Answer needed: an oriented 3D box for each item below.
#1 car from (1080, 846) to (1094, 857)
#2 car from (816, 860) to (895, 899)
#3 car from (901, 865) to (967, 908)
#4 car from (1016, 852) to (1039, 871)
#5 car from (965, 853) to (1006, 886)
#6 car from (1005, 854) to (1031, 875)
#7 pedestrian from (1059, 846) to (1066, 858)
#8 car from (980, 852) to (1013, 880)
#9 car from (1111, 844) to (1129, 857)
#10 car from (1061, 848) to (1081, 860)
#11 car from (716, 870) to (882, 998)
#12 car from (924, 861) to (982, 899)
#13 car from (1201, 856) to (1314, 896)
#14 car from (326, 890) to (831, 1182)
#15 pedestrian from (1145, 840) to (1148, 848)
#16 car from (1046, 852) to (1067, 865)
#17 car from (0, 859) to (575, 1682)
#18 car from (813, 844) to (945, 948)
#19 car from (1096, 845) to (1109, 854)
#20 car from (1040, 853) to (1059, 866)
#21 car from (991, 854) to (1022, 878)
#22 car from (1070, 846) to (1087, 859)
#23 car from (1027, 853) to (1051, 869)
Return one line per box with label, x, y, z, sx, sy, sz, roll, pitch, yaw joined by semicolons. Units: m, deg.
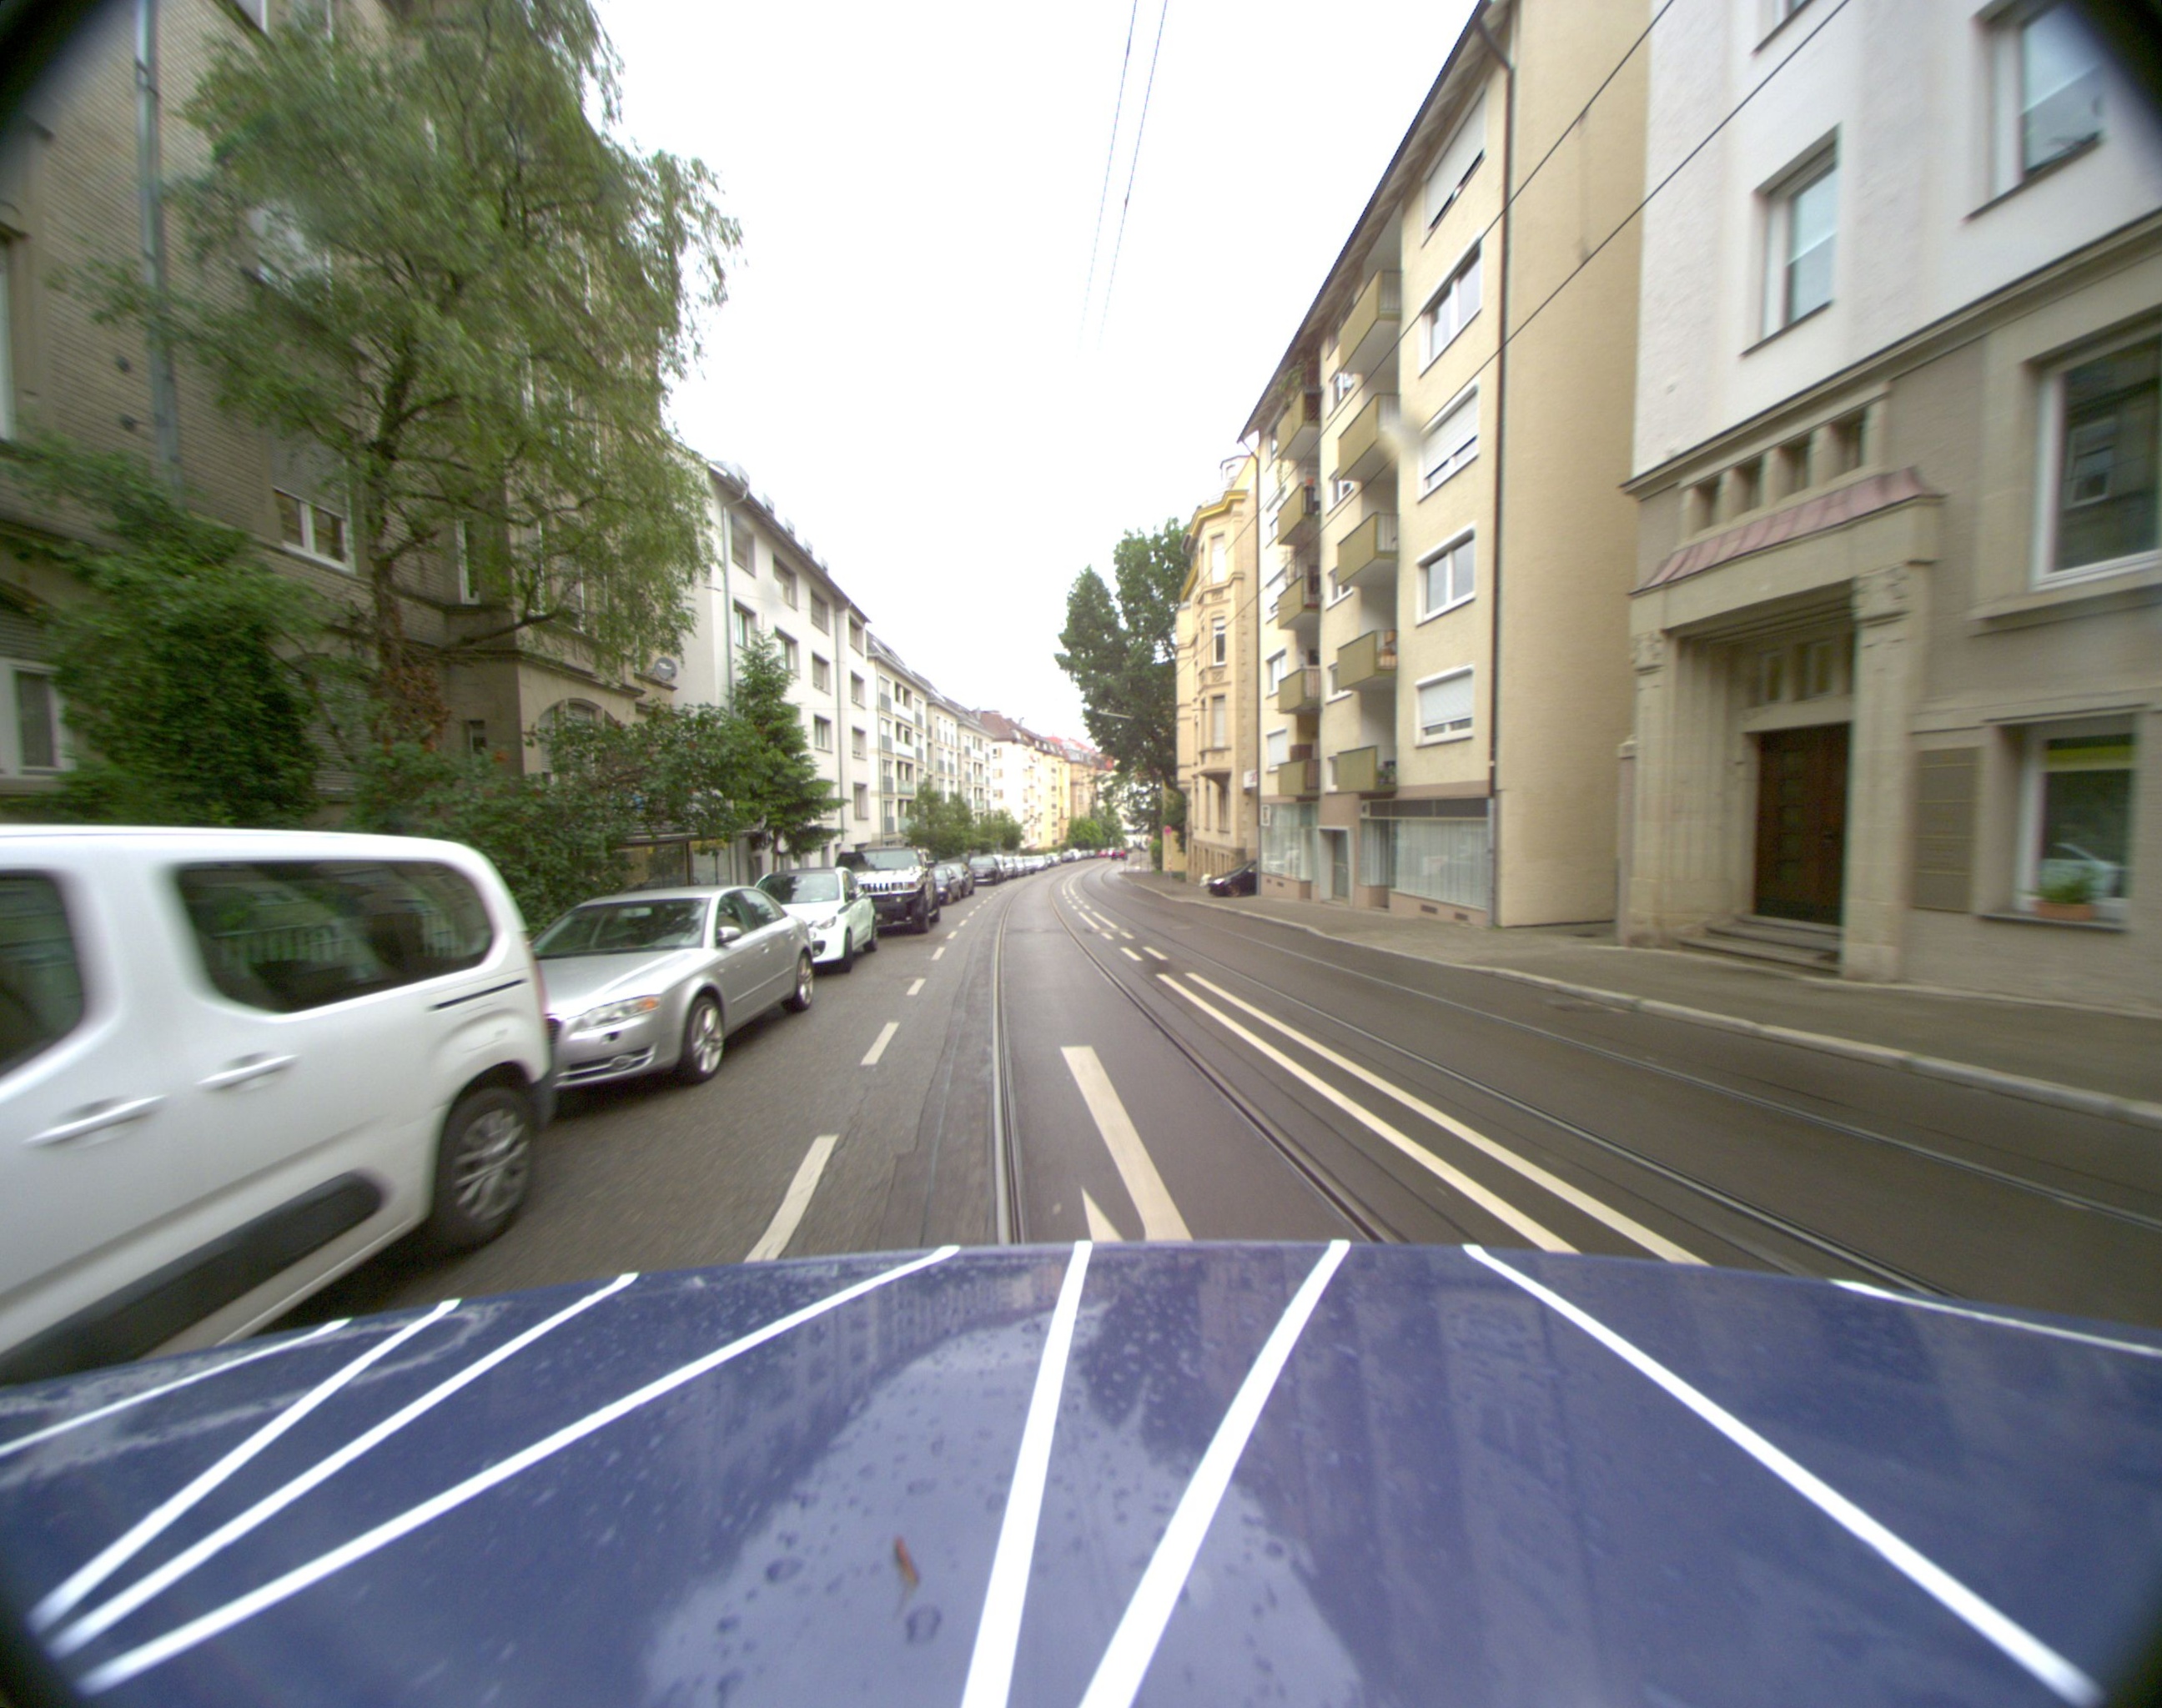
car;0.928;-0.385;115.648;1.590;1.434;3.477;-2;1;8
car;-9.622;1.049;32.784;1.816;1.418;4.154;-3;0;4
car;-5.332;1.131;27.978;1.683;1.330;3.882;-2;0;-1
car;-4.841;0.688;68.988;1.980;1.576;4.564;-2;1;-3
car;-5.702;0.876;46.030;1.948;1.785;4.819;-2;1;-2
car;-5.205;0.828;63.326;1.837;1.618;4.662;-1;1;0
pedestrian;-2.510;-0.280;104.438;0.716;1.703;0.665;2;2;11
car;-5.712;0.789;51.668;1.783;1.785;4.470;-1;0;-1
car;5.672;-0.520;109.817;2.068;1.668;4.773;1;2;10
car;-1.287;0.002;101.527;1.797;1.444;4.105;-2;1;10
car;-4.237;1.099;11.964;1.565;1.537;3.582;-3;1;-7
car;-5.459;1.068;32.981;1.799;1.429;4.610;-2;0;-1
car;6.922;0.841;30.069;3.997;1.445;1.740;-1;0;-1
car;-3.719;1.188;6.783;1.754;1.392;4.476;-3;1;-5
pedestrian;14.813;-2.258;171.774;0.649;1.651;0.650;0;1;6
car;-2.883;0.483;90.845;1.721;1.459;4.392;-1;1;7
car;-3.271;0.954;1.556;1.803;1.755;4.460;-3;1;-7
car;-4.562;0.839;18.080;2.135;2.002;5.347;-3;1;-6
car;3.606;-0.720;128.084;1.556;1.360;3.126;-2;1;15
car;-3.554;0.596;85.828;1.599;1.416;3.516;-1;1;5
car;-5.630;0.857;57.765;1.836;1.647;4.686;-1;1;1
car;-0.354;-0.210;106.432;1.798;1.613;3.869;-2;1;8
car;-4.259;0.660;78.412;1.862;1.507;4.790;-1;1;4
